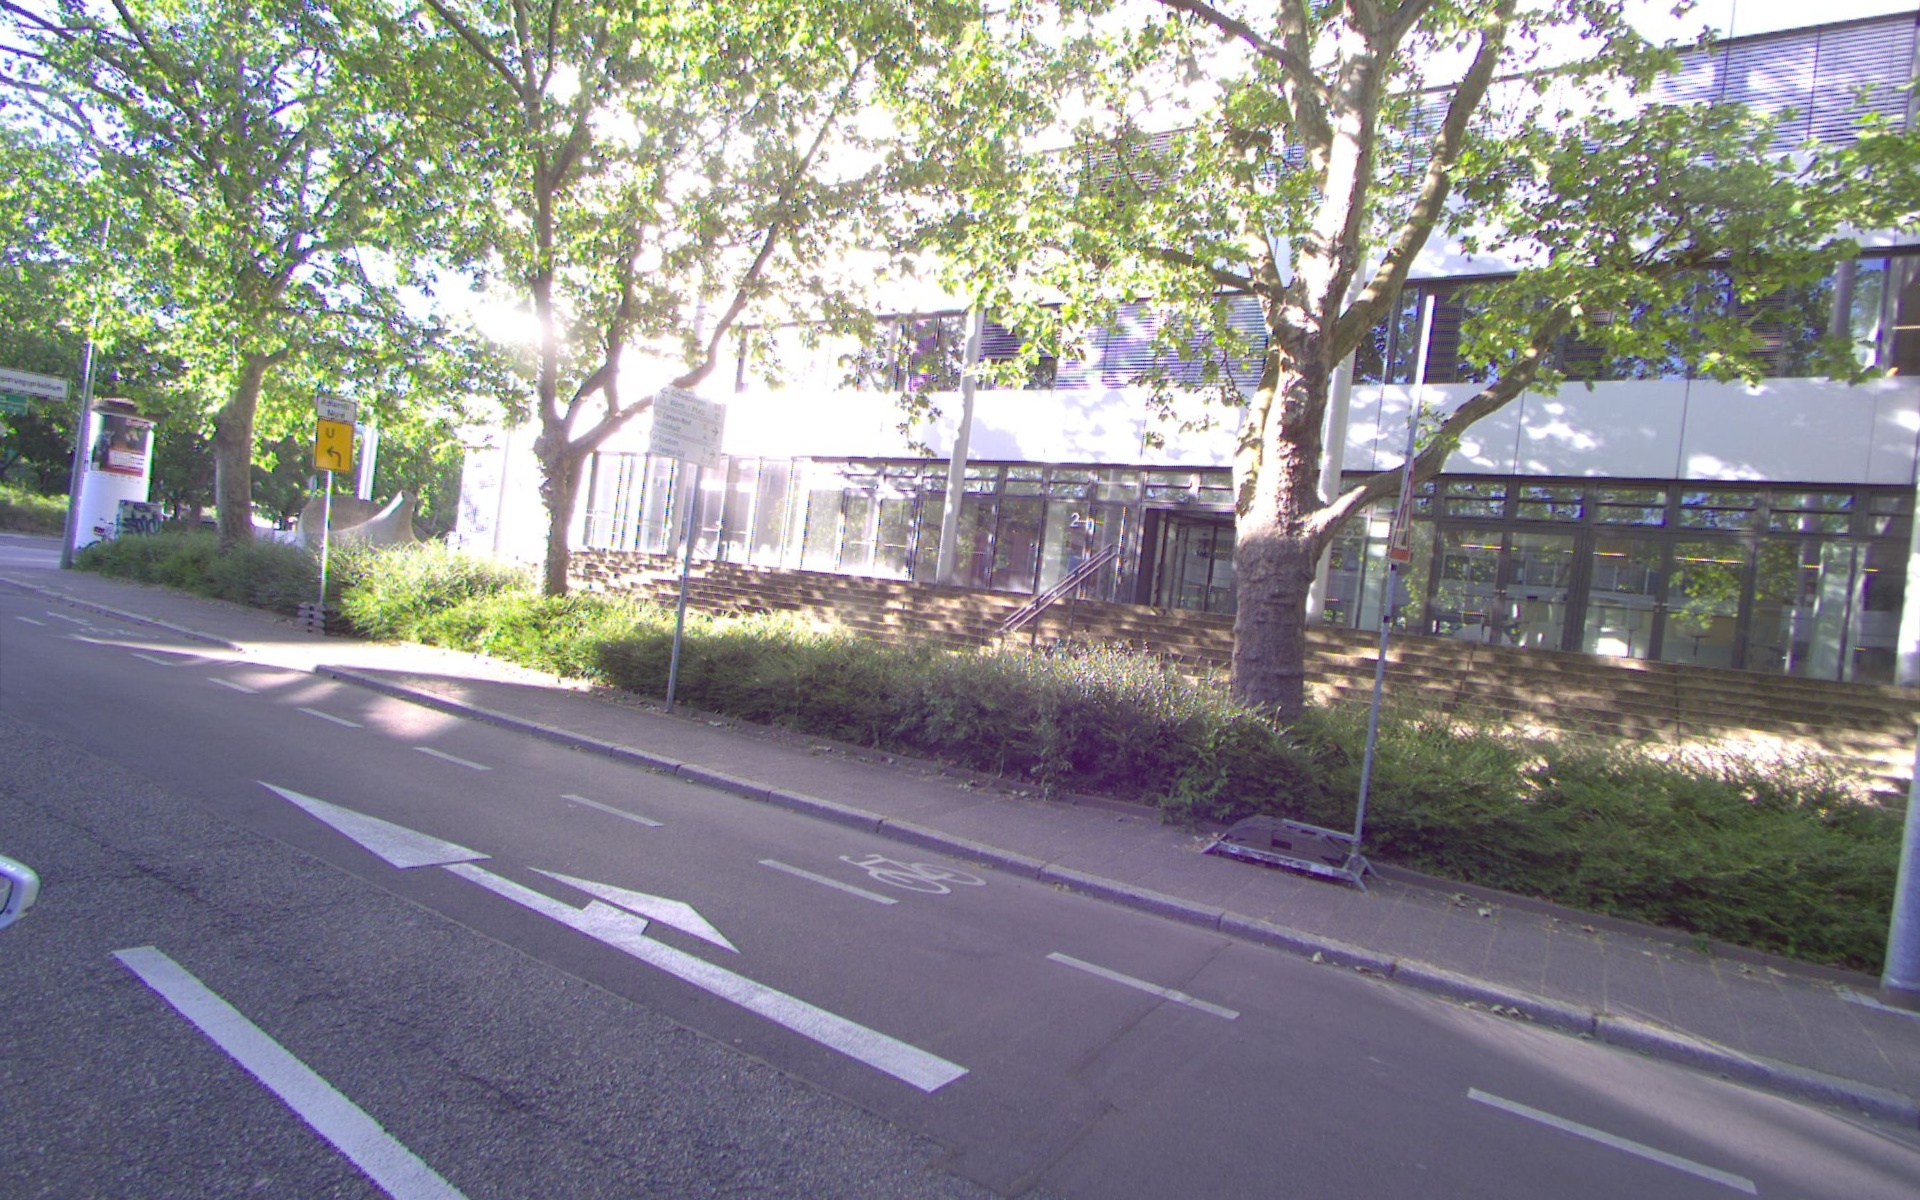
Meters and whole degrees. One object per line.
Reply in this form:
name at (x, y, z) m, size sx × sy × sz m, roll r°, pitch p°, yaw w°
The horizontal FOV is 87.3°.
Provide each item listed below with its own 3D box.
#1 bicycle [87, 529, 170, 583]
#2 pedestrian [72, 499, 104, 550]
bicycle at (-19.130, -1.003, 23.162) m, size 0.357 × 1.036 × 1.354 m, roll 7°, pitch -1°, yaw 33°
pedestrian at (-30.829, -2.677, 35.571) m, size 0.674 × 1.686 × 0.628 m, roll 7°, pitch 0°, yaw 42°
